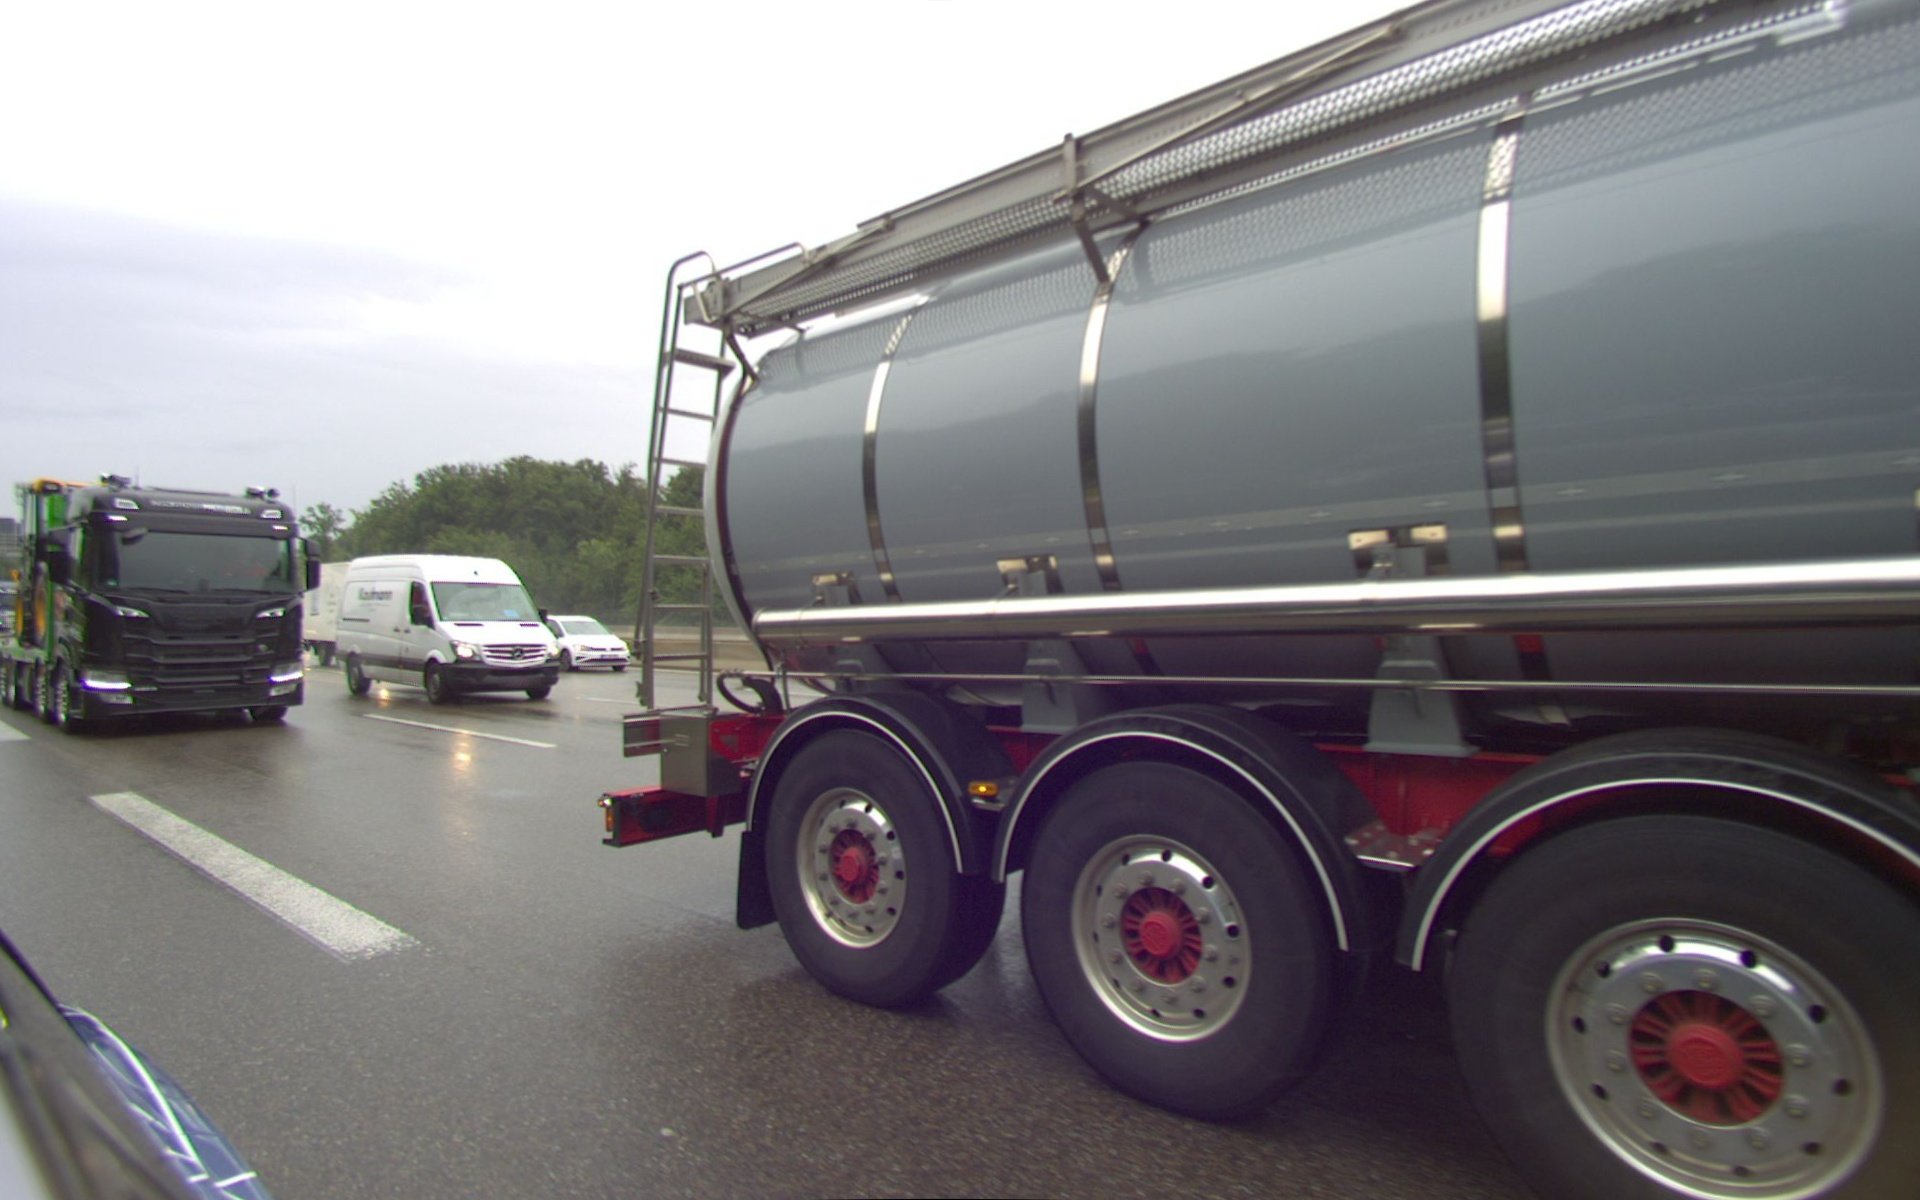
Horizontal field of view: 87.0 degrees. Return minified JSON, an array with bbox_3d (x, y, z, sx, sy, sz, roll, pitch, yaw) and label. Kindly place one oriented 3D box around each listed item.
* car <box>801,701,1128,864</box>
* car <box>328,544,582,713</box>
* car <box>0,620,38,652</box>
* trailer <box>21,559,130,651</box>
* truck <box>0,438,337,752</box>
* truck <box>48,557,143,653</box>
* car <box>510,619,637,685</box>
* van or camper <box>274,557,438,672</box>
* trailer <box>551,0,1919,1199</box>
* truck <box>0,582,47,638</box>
[{"bbox_3d":[-0.087,2.453,14.652,4.764,1.534,1.906,0,-1,44],"label":"car"},{"bbox_3d":[-9.451,0.458,18.663,5.841,2.649,2.192,0,-1,42],"label":"car"},{"bbox_3d":[-62.304,2.332,66.787,4.001,1.785,1.739,1,4,43],"label":"car"},{"bbox_3d":[-42.769,0.278,48.706,13.677,3.893,2.598,-1,-1,43],"label":"trailer"},{"bbox_3d":[-13.777,0.014,16.695,11.795,3.616,2.800,-1,-1,42],"label":"truck"},{"bbox_3d":[-37.174,0.219,43.489,4.589,3.893,2.598,-1,-1,43],"label":"truck"},{"bbox_3d":[-11.208,1.446,29.272,3.998,1.769,1.755,-1,-2,41],"label":"car"},{"bbox_3d":[-19.104,0.431,31.800,7.131,3.228,2.551,0,-1,43],"label":"van or camper"},{"bbox_3d":[2.750,-0.294,2.821,10.069,3.314,2.845,-1,-1,40],"label":"trailer"},{"bbox_3d":[-78.306,0.695,83.849,3.308,4.100,12.583,-4,4,-44],"label":"truck"}]
